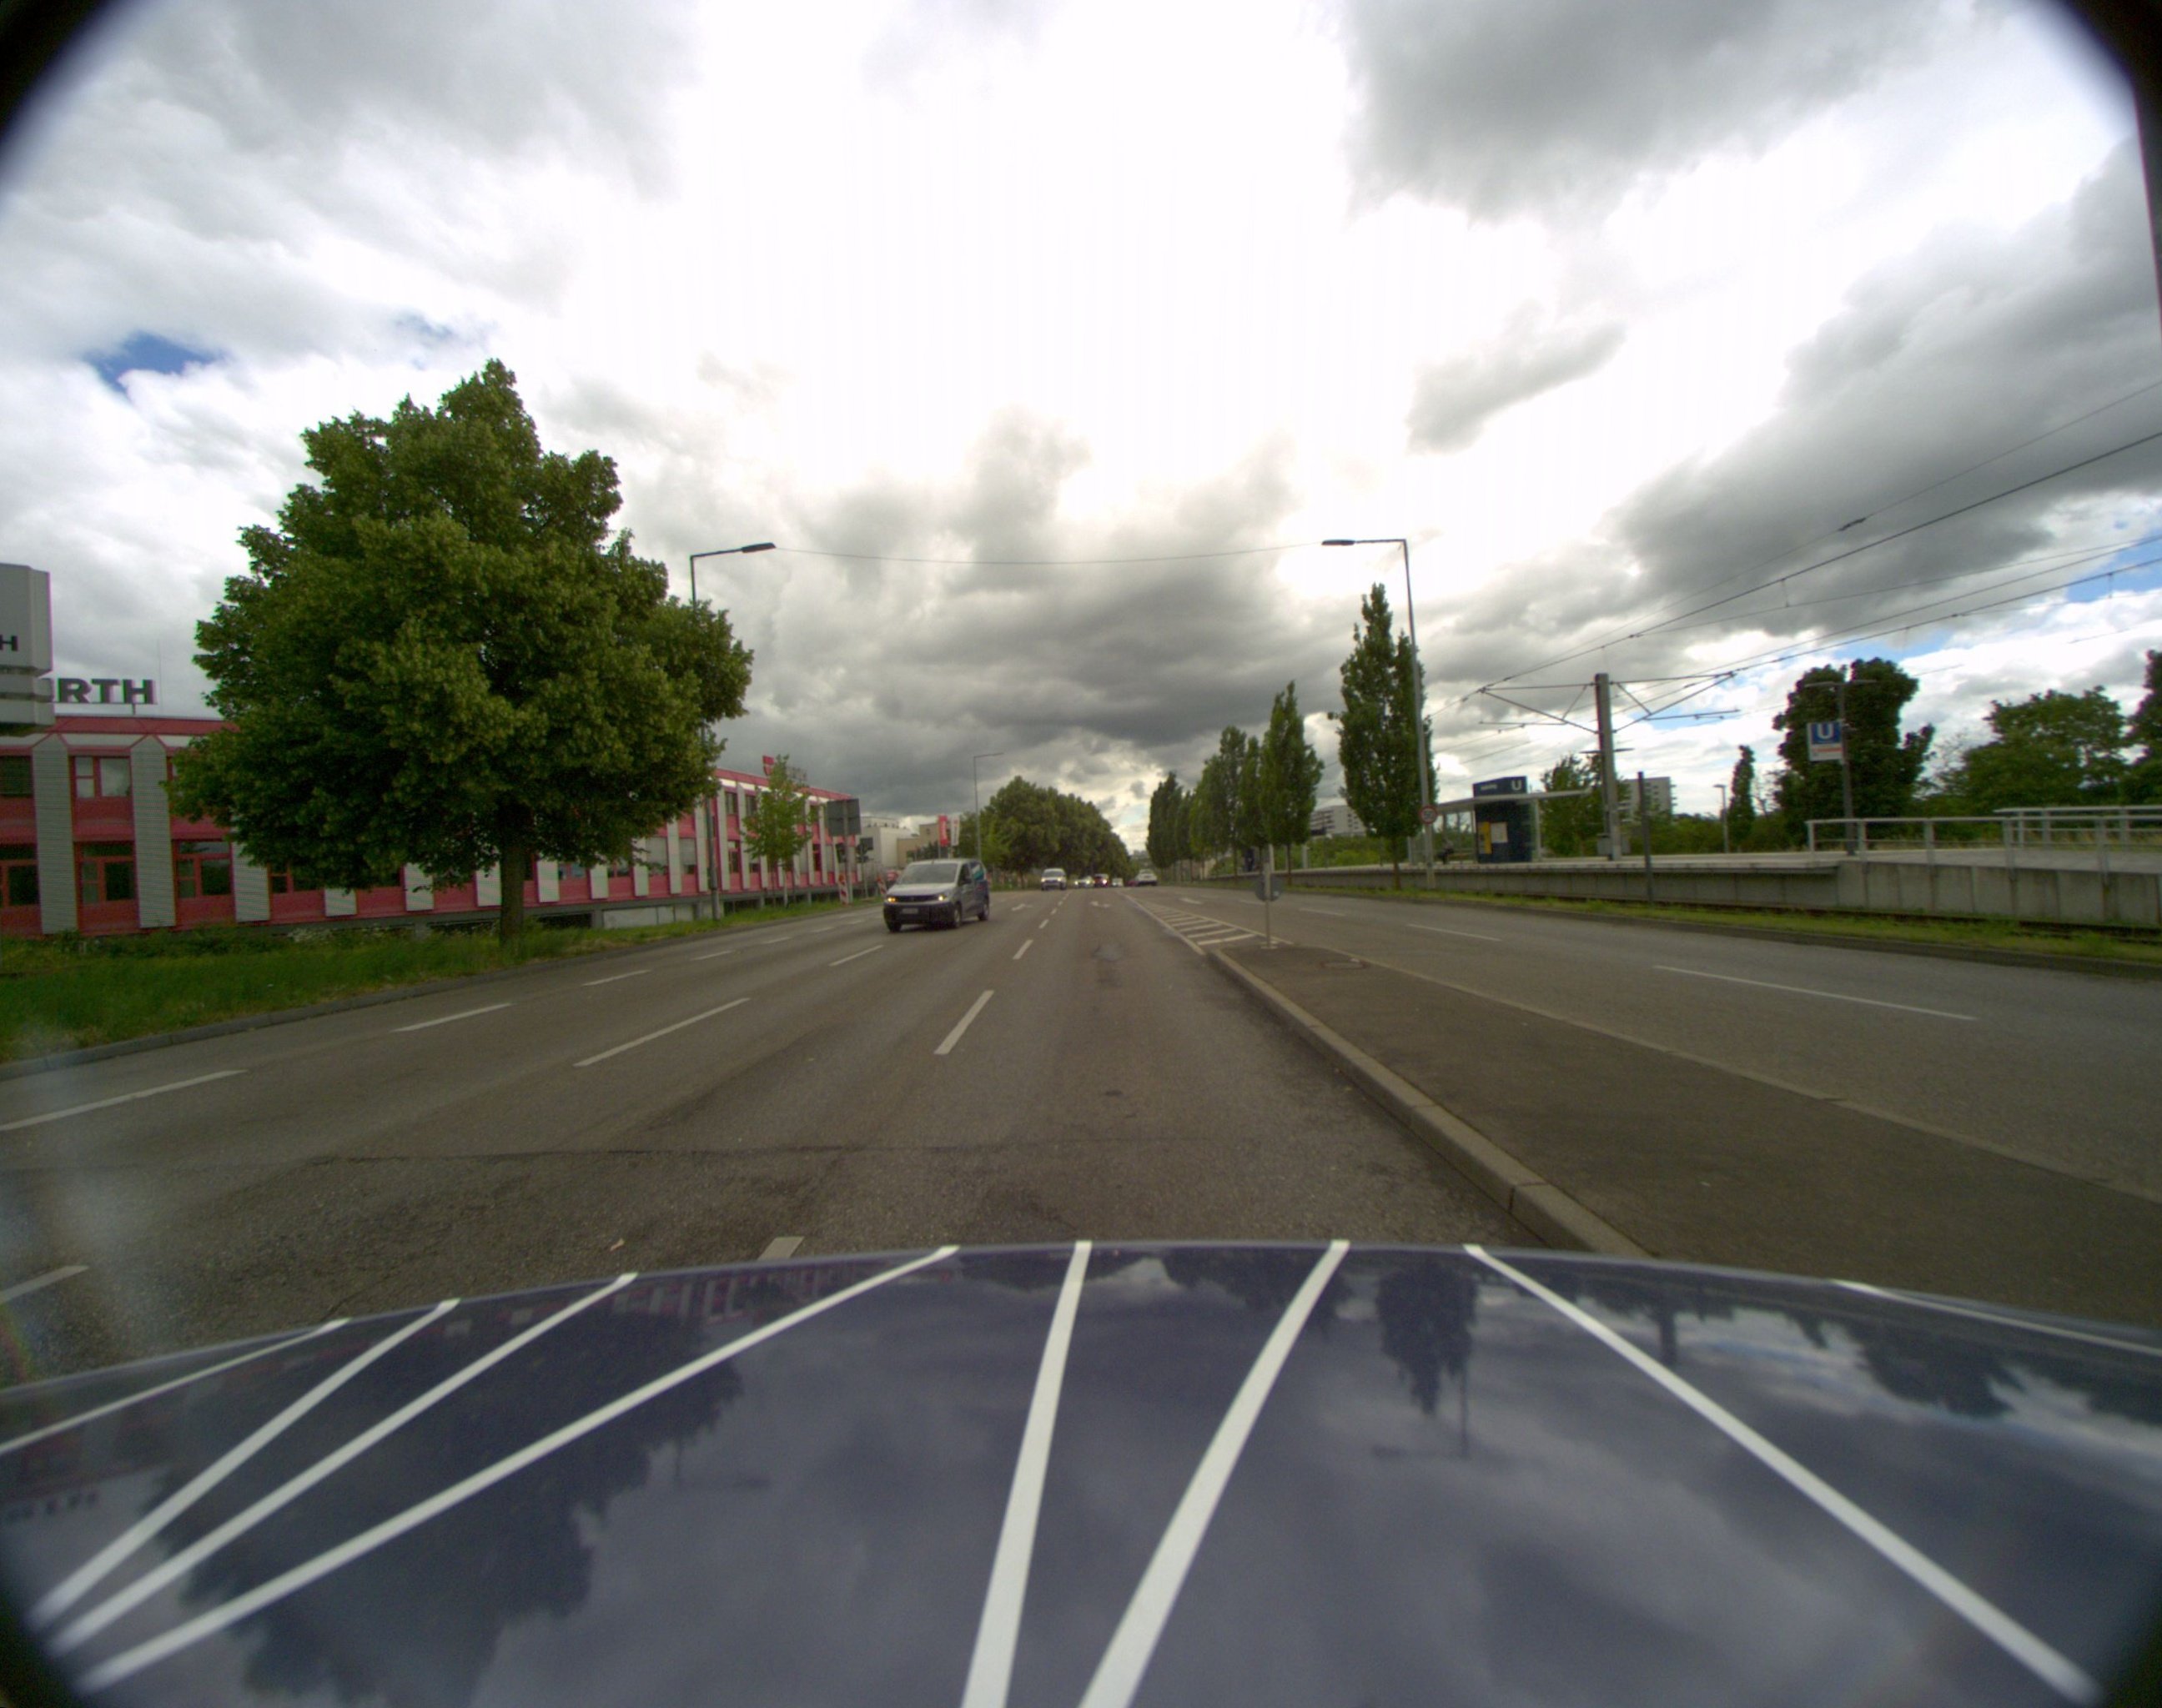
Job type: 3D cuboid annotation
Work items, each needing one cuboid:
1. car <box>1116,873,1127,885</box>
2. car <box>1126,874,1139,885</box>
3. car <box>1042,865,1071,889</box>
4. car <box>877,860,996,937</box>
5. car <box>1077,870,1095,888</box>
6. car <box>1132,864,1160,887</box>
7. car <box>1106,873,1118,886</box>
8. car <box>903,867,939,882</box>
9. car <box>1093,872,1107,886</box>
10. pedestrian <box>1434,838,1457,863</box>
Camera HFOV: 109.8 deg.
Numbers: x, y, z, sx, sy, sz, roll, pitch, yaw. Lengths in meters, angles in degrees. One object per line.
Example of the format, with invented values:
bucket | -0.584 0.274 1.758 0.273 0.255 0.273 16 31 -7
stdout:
car | 6.521 3.997 122.892 1.782 1.744 4.253 -2 0 3
car | 7.752 3.817 114.289 1.785 1.434 4.427 -3 -1 4
car | -1.981 1.826 61.881 1.984 1.744 4.253 -2 0 3
car | -3.702 1.075 20.292 1.781 1.744 4.254 -2 0 8
car | 0.620 2.806 85.925 1.782 1.744 4.253 -2 0 3
car | 6.057 2.027 70.904 1.834 1.617 4.430 -2 -7 -4
car | 4.774 3.891 115.642 1.782 1.744 4.253 -2 0 3
car | -21.232 2.696 101.008 4.248 1.744 1.784 -2 0 2
car | 2.606 3.350 102.901 1.782 1.744 4.253 -2 0 3
pedestrian | 17.610 -0.168 36.739 0.663 1.195 0.782 -2 0 -7
